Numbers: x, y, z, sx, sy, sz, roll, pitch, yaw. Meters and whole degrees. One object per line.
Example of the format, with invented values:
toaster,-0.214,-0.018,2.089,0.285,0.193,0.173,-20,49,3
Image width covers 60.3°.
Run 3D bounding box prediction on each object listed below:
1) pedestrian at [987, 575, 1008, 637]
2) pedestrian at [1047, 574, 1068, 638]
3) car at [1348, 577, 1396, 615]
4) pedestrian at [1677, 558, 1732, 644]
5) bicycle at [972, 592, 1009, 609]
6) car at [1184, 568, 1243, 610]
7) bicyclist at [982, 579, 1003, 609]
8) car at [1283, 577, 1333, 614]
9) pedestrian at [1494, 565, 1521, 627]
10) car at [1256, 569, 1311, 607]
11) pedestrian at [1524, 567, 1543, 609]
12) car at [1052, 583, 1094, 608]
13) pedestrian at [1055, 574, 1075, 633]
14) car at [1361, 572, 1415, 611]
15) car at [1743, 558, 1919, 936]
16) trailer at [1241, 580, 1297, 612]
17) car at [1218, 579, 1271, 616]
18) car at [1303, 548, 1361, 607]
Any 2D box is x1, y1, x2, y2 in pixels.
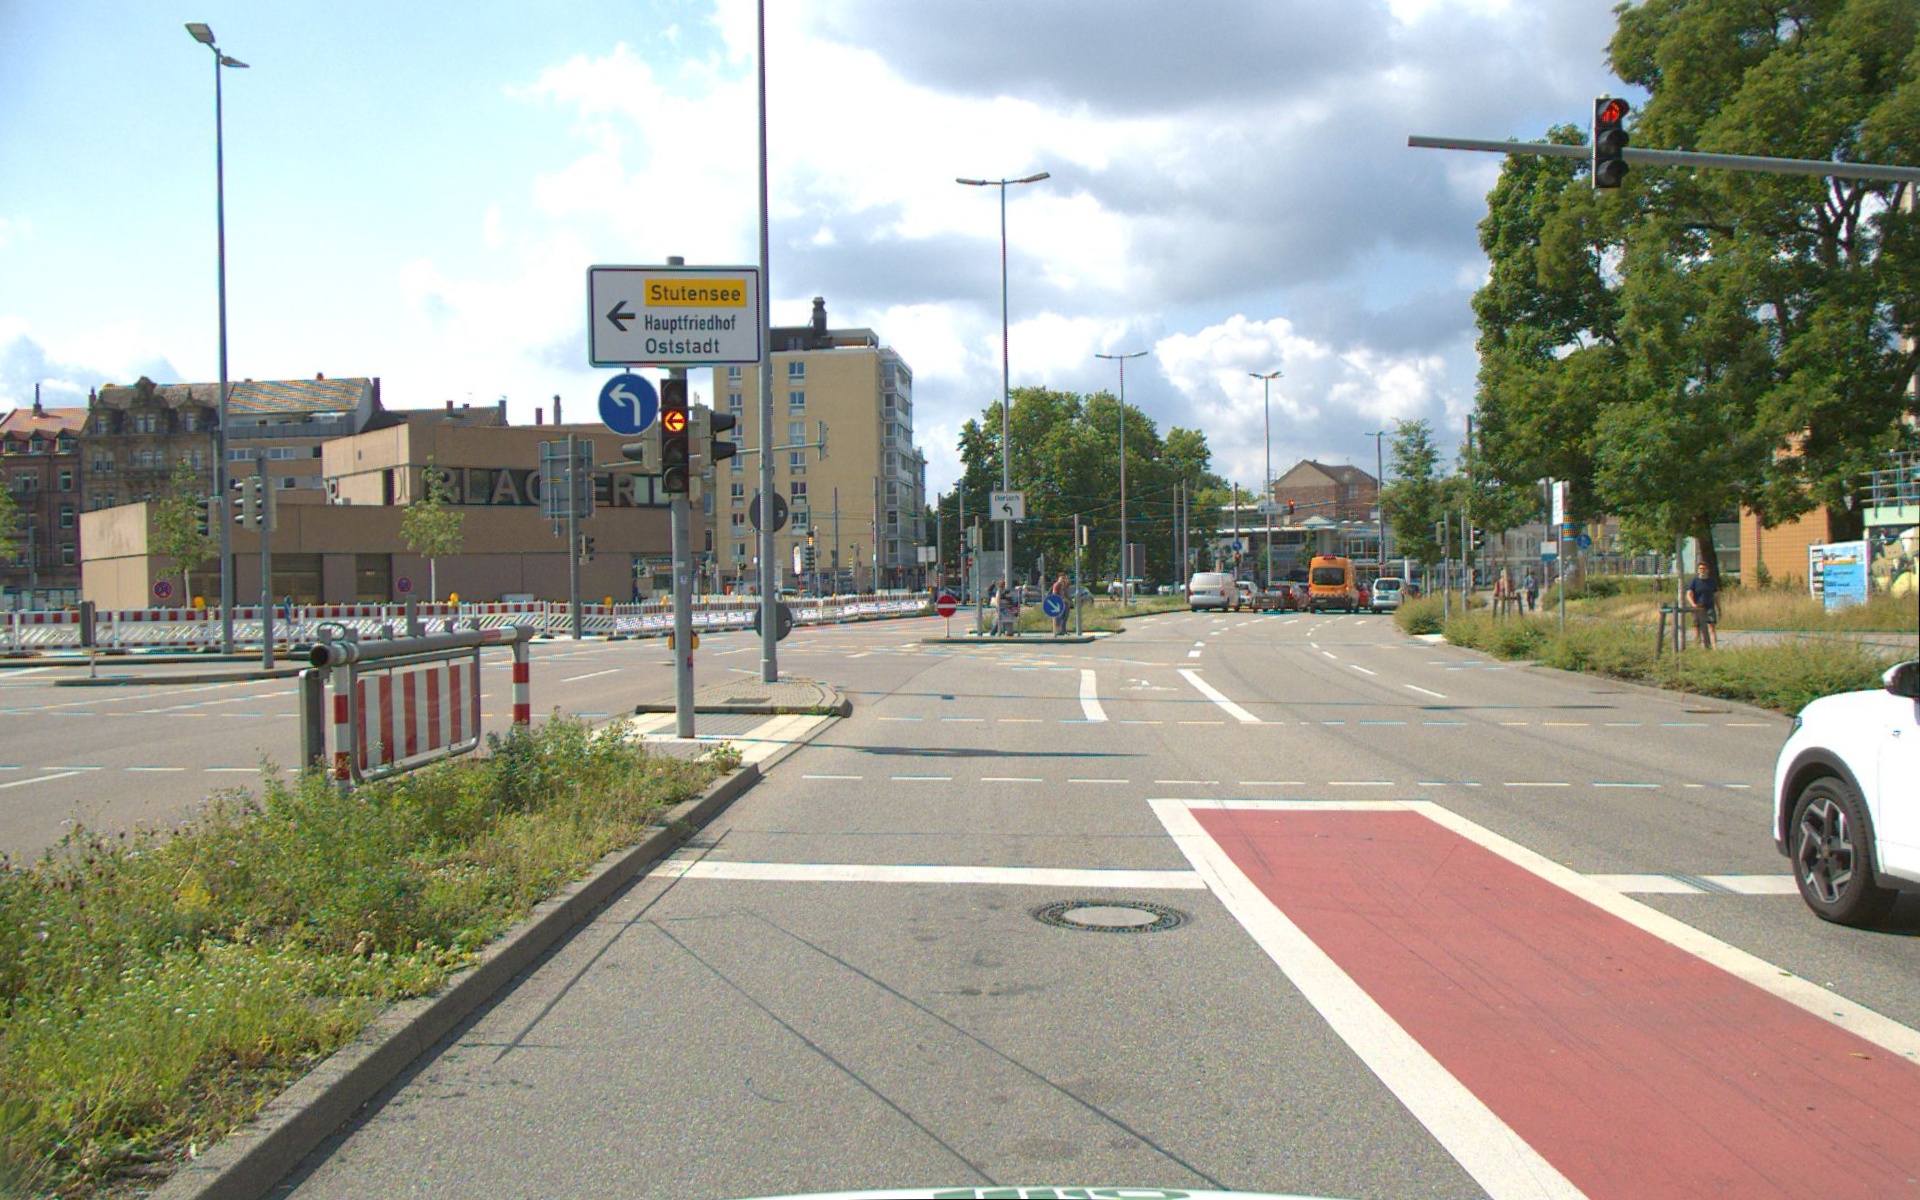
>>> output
pedestrian,1.069,0.163,47.362,0.513,1.763,0.624,-1,0,7
pedestrian,2.728,0.158,46.148,0.513,1.763,0.624,-1,0,7
car,22.640,-0.256,90.827,1.950,1.972,4.639,-2,0,21
pedestrian,13.510,0.009,30.038,0.754,1.534,0.552,-1,0,3
bicycle,2.015,0.007,110.026,2.329,1.085,0.859,-1,0,19
car,13.026,-0.584,84.824,1.964,2.001,4.639,-2,0,21
bicyclist,2.159,-0.419,109.976,1.194,1.943,0.859,-1,0,18
car,19.318,-0.267,91.756,1.950,1.972,4.639,-2,0,21
pedestrian,15.774,-0.115,47.668,0.646,1.763,0.578,-1,0,12
car,16.761,-0.653,85.547,1.953,1.858,3.999,-2,0,23
pedestrian,25.351,-0.542,73.141,0.771,1.815,0.667,-1,0,19
car,6.596,-0.295,96.209,1.754,1.412,4.231,-1,0,13
pedestrian,3.070,0.103,48.305,0.513,1.713,0.624,-1,0,7
car,21.158,-0.430,81.610,1.953,1.826,3.999,-2,0,23
car,4.870,0.622,6.331,1.755,1.566,4.010,1,1,-2
trailer,15.405,-0.220,82.309,1.953,1.503,3.999,-2,0,23
car,15.998,-0.170,92.853,1.950,1.972,4.639,-2,0,21
car,18.645,-1.113,82.798,2.086,2.829,4.639,-2,0,21
